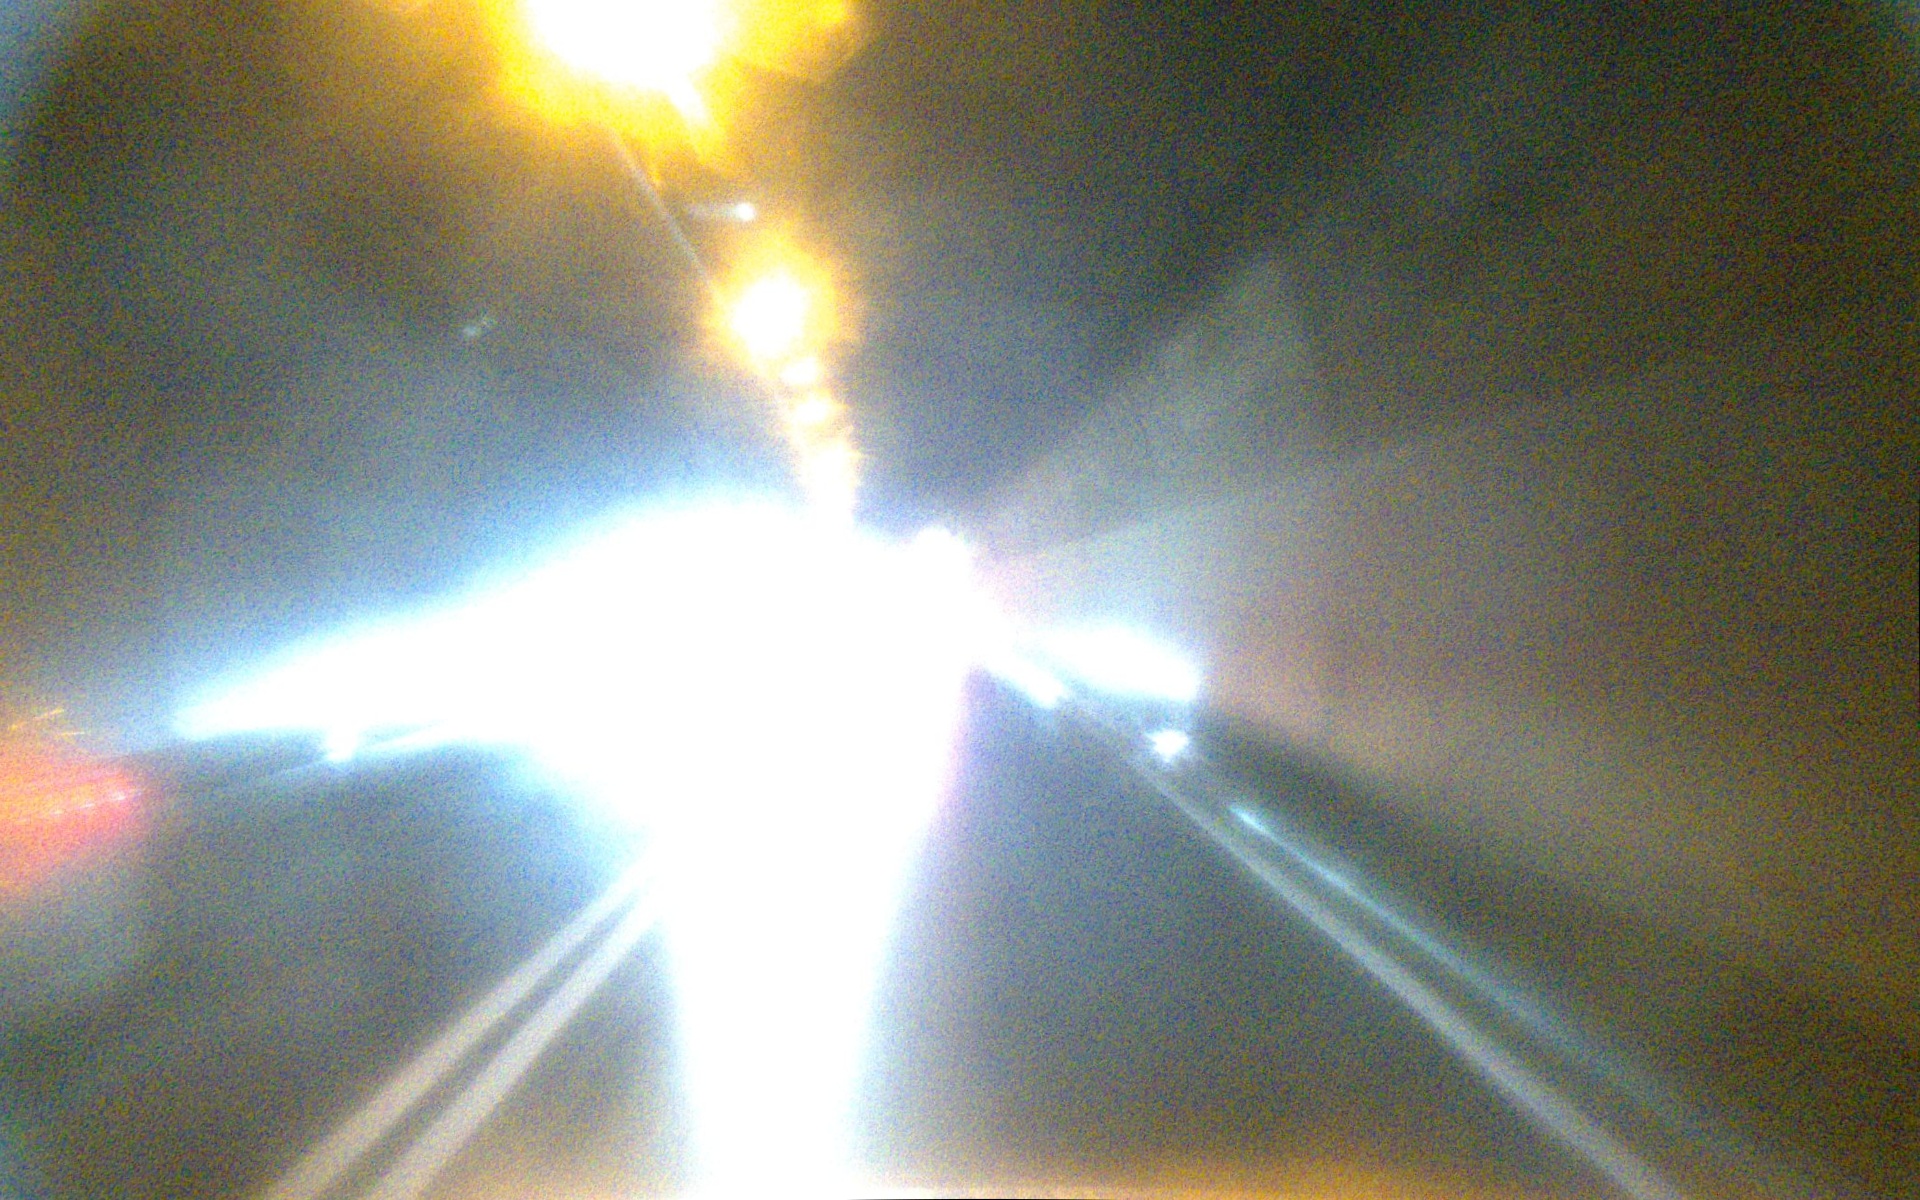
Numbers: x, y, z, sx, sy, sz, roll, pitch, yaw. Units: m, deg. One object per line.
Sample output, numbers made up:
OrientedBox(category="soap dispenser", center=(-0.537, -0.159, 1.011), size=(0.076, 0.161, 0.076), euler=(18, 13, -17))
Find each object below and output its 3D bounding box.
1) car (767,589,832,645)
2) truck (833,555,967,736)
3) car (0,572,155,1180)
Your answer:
OrientedBox(category="car", center=(-4.732, 0.485, 49.236), size=(1.622, 1.519, 3.837), euler=(2, 0, -2))
OrientedBox(category="truck", center=(-1.096, 0.794, 32.556), size=(2.216, 3.063, 7.414), euler=(2, 0, -1))
OrientedBox(category="car", center=(-3.230, 0.674, 2.740), size=(1.776, 1.508, 4.200), euler=(1, 0, -1))
